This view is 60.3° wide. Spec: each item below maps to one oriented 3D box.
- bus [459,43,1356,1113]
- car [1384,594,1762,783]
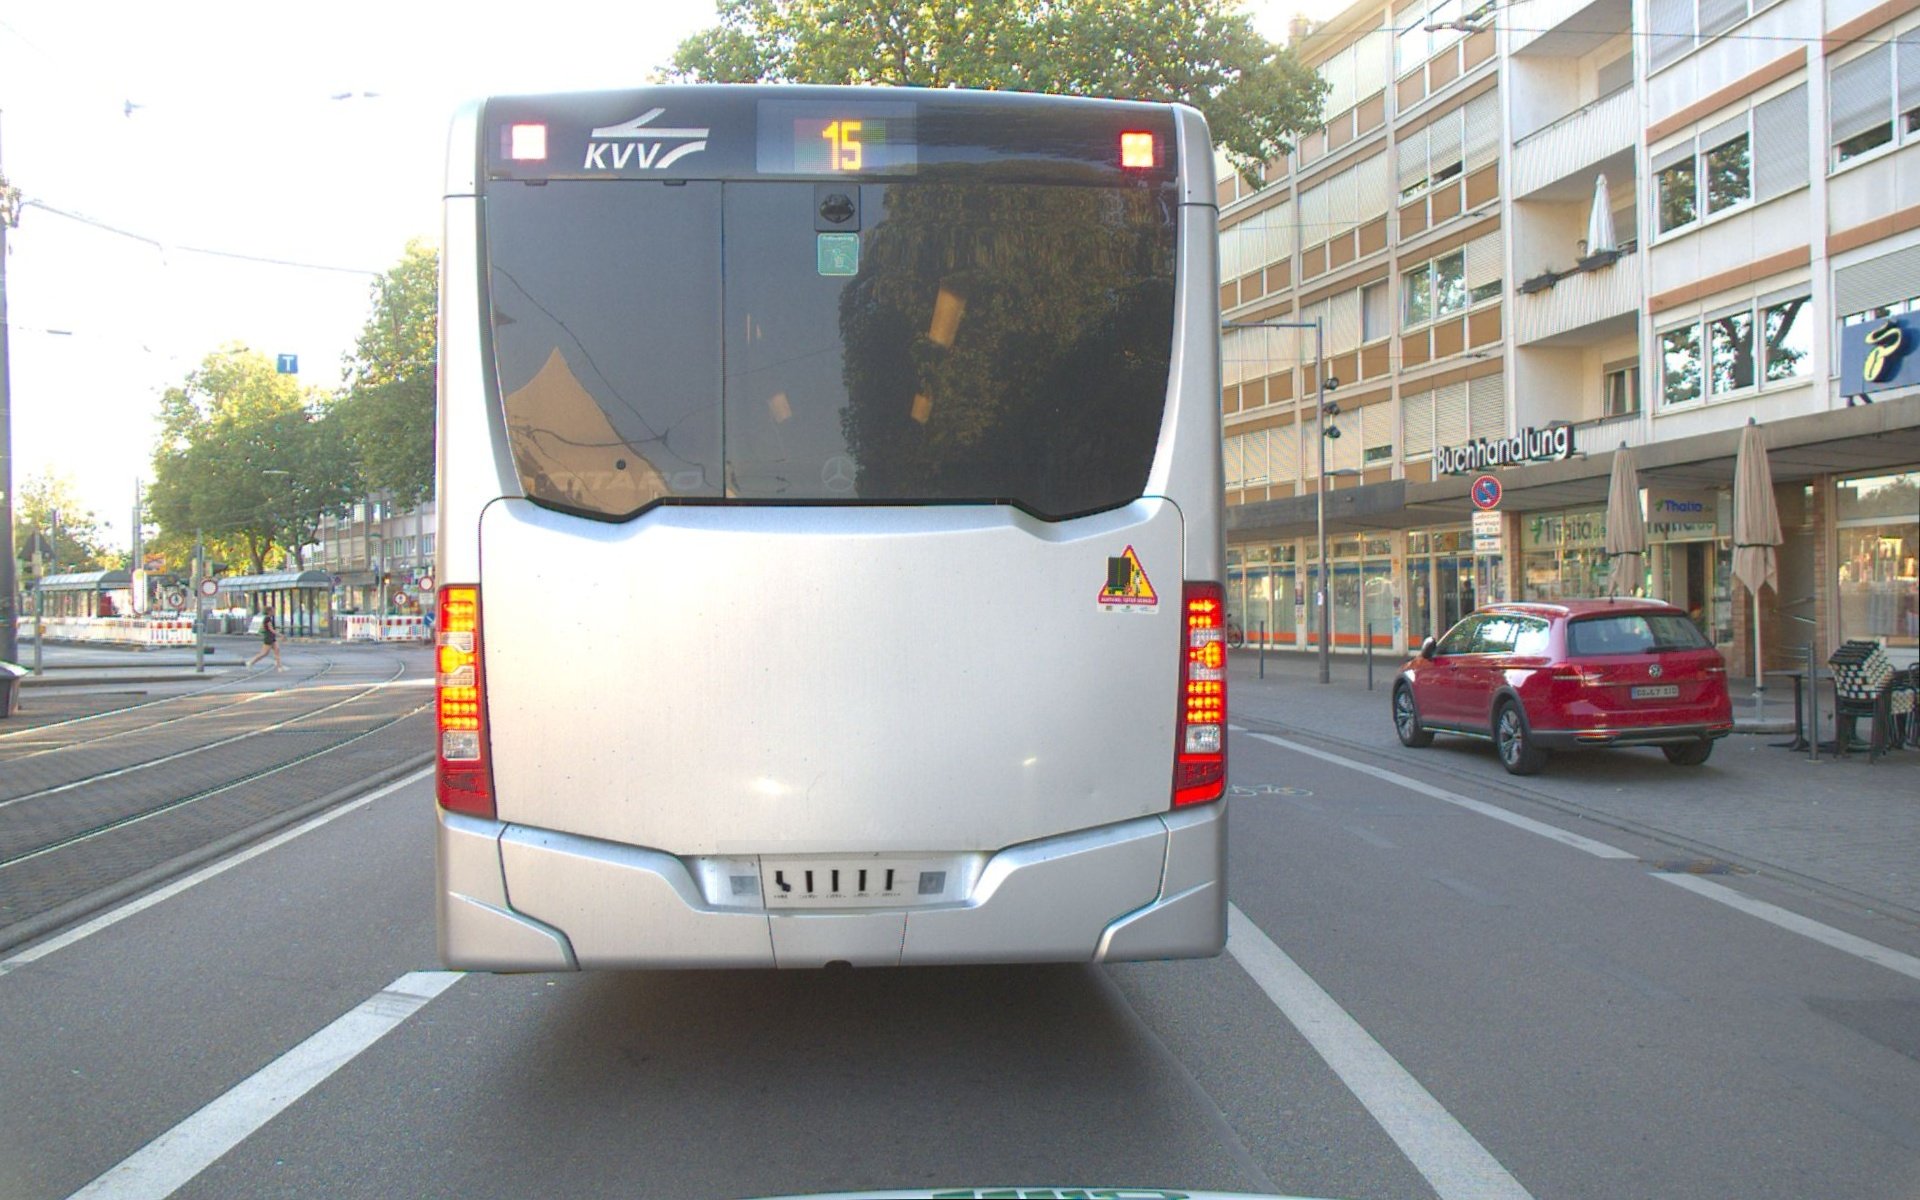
[{"bbox_3d":[-0.221,-0.043,9.793,2.577,3.081,9.995,0,0,-1],"label":"bus"},{"bbox_3d":[5.667,0.737,15.935,1.735,1.508,4.299,-2,0,-4],"label":"car"}]
